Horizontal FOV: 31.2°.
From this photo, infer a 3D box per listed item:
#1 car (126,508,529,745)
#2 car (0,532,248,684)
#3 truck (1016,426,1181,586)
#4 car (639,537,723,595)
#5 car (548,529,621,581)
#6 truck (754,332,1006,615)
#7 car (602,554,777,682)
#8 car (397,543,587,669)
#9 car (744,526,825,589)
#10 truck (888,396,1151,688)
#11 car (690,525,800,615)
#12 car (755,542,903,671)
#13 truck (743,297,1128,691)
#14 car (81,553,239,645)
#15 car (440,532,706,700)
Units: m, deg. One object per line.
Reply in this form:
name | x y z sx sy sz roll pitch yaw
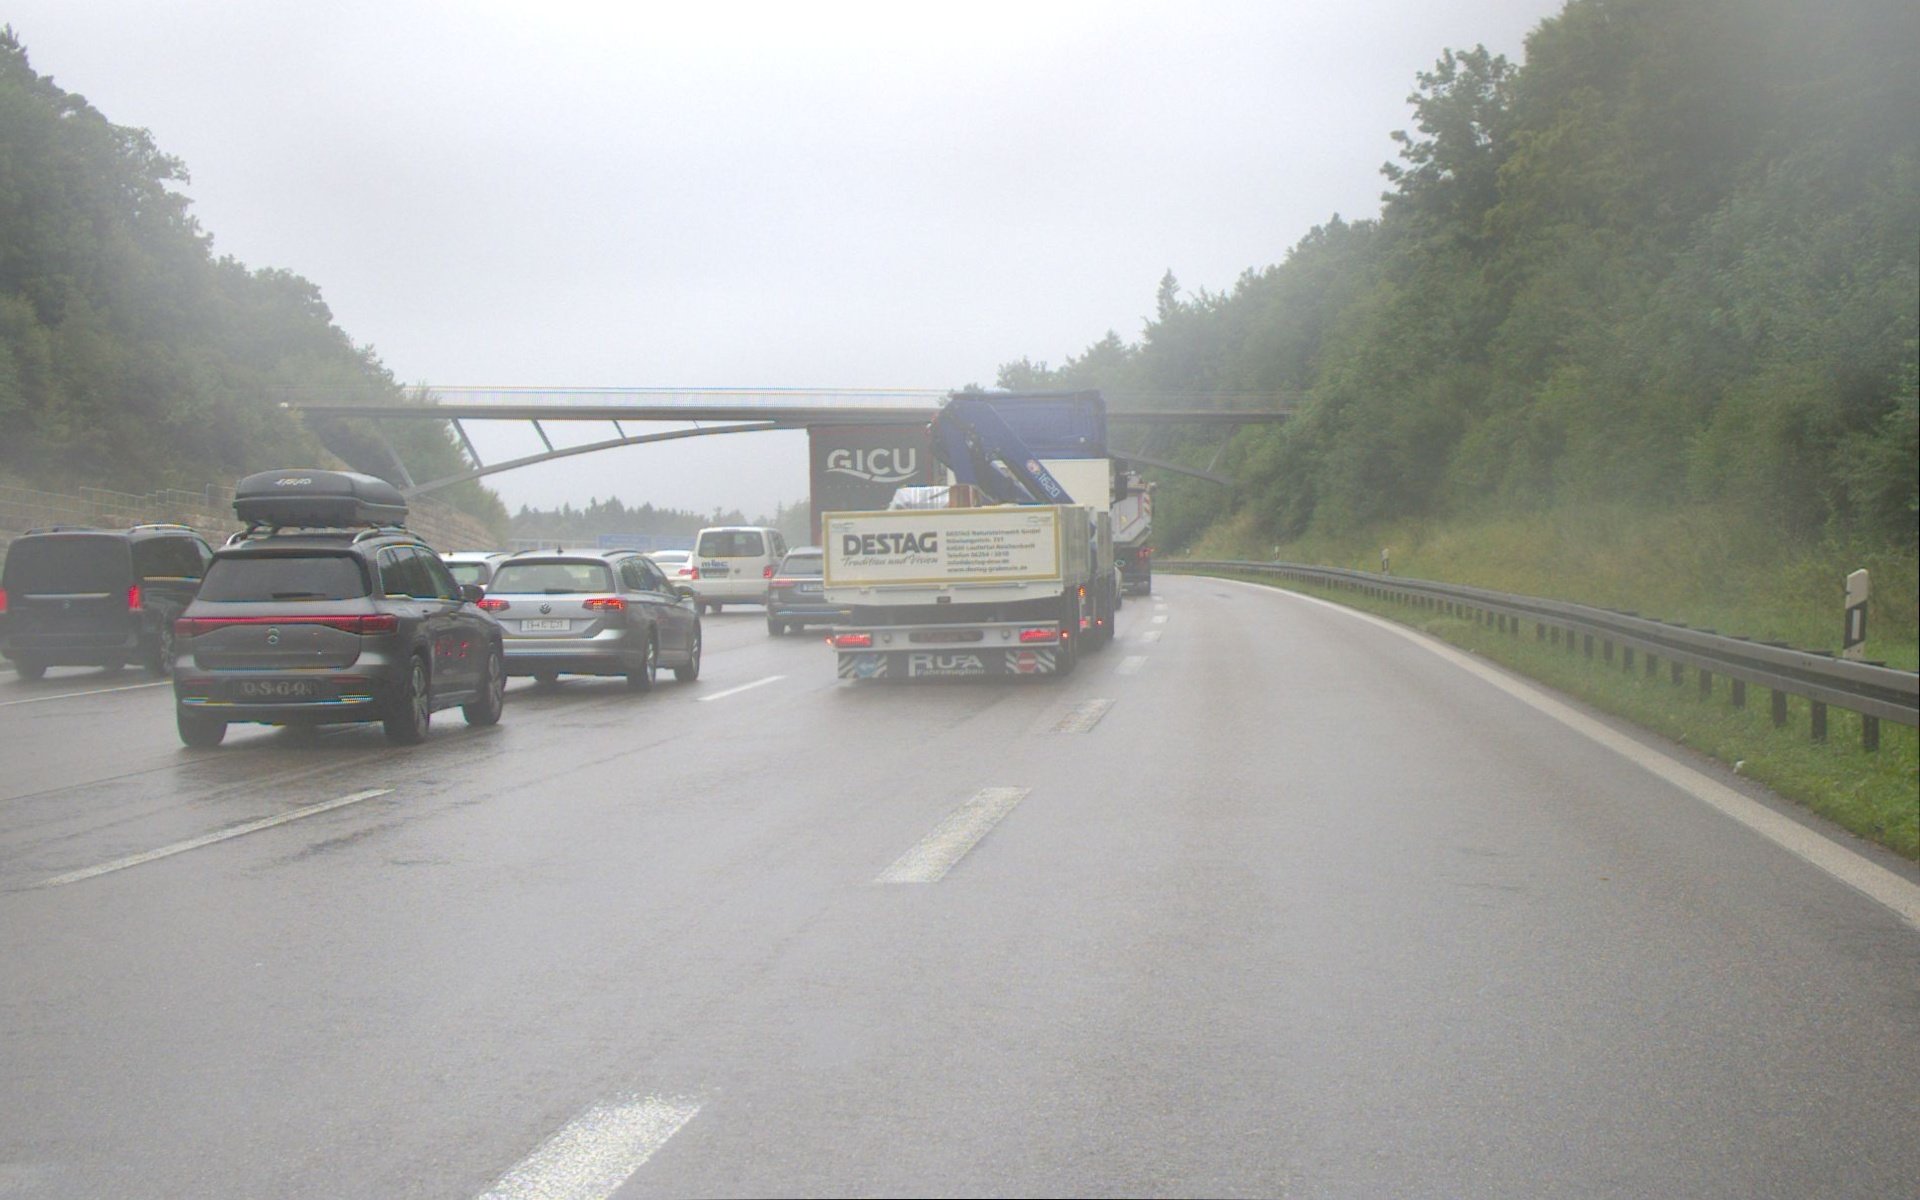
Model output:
car | -4.899 0.209 27.237 1.994 1.630 3.999 3 0 6
car | -10.681 0.059 43.628 1.928 1.826 4.585 0 1 6
truck | 4.083 -2.569 98.089 3.756 3.957 11.056 3 0 6
car | -7.721 -0.935 95.460 1.623 1.443 3.760 3 0 6
car | -13.410 -1.608 123.001 1.993 1.672 4.000 3 0 1
truck | -1.563 -2.545 74.656 3.755 5.480 10.169 3 0 7
car | -3.657 0.213 47.058 1.755 1.641 3.999 0 1 5
car | -6.394 0.052 47.383 1.755 1.641 3.999 0 1 5
car | -5.126 -1.221 100.802 1.852 1.657 3.999 3 0 4
truck | 1.197 -0.842 57.497 3.508 4.253 10.601 3 0 5
car | -4.770 -0.648 76.861 1.844 1.853 3.999 3 0 4
car | -2.171 0.121 58.123 1.794 2.007 3.999 3 0 7
truck | 0.019 -1.218 41.767 3.600 4.091 11.558 0 1 5
car | -15.935 -0.045 68.668 1.994 1.763 4.000 0 1 3
car | -4.005 0.124 36.240 1.938 1.656 3.999 0 1 6
